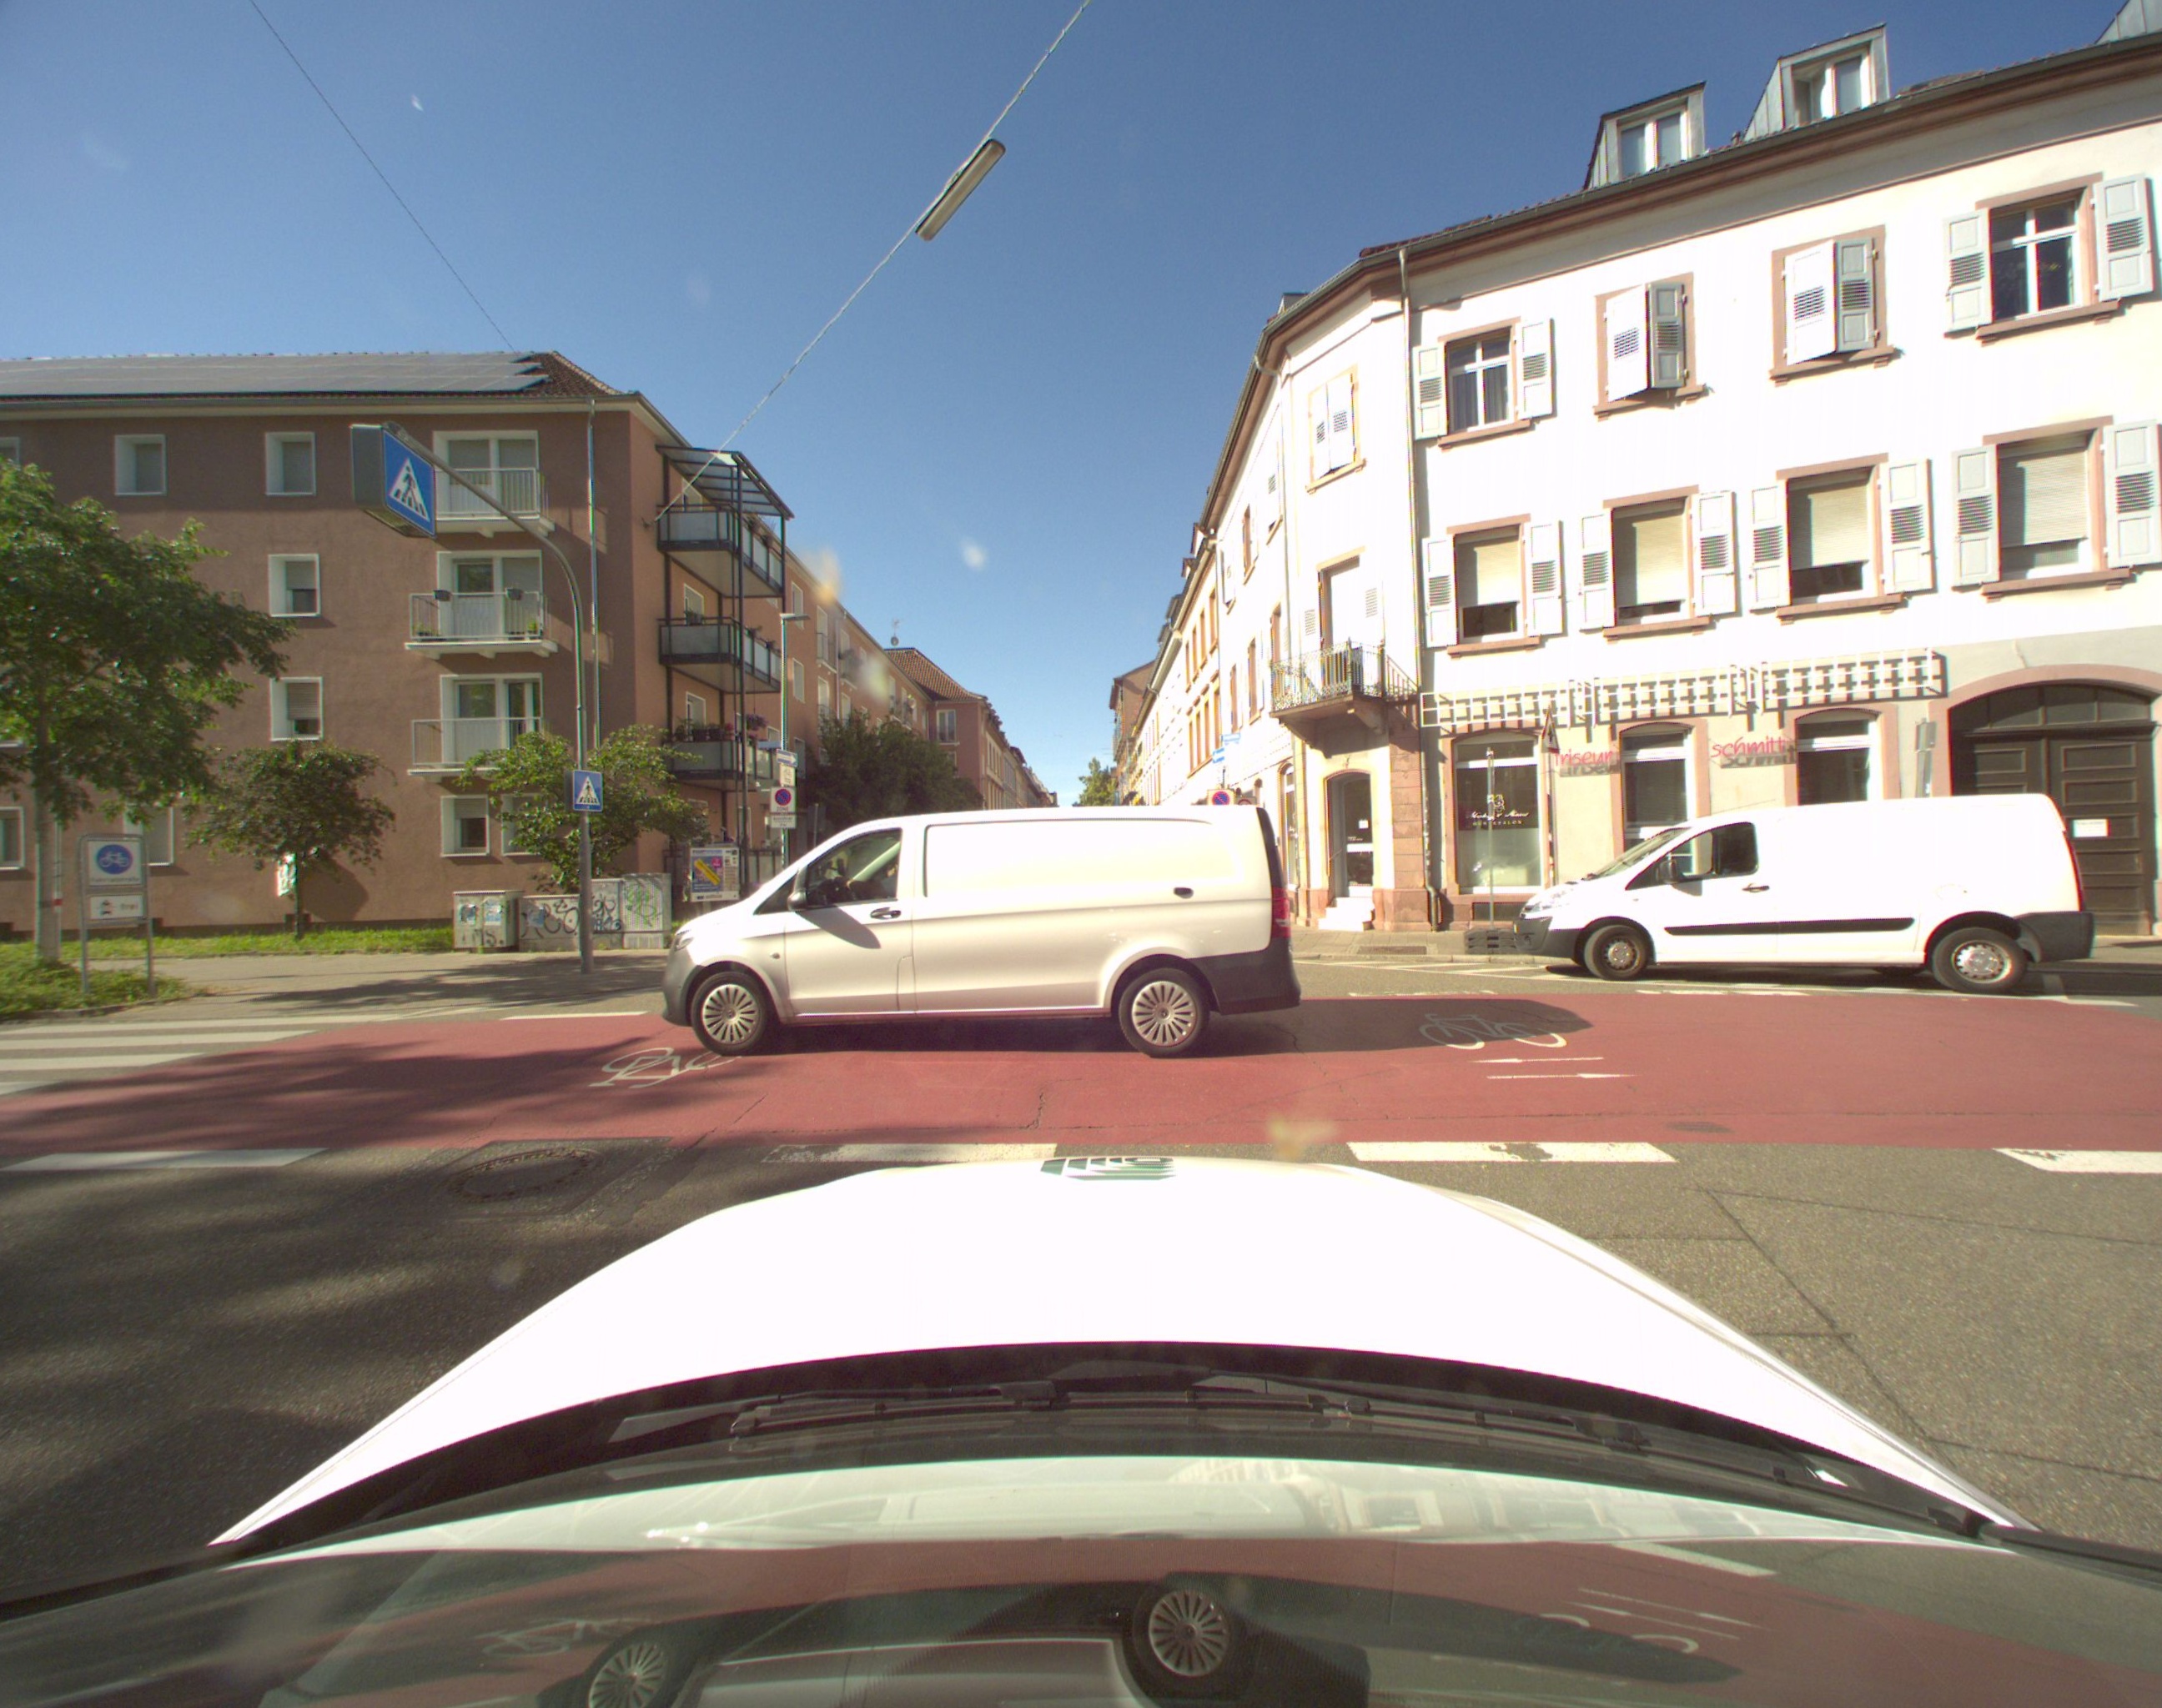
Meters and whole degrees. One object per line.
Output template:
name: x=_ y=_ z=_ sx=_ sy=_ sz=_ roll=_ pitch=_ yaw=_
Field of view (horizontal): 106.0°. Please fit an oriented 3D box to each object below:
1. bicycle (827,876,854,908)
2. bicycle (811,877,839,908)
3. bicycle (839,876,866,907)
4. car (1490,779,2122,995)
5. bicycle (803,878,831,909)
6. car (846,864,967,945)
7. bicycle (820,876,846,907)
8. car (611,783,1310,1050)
bicycle: x=-8.465 y=1.335 z=28.666 sx=1.201 sy=1.071 sz=0.255 roll=-2 pitch=-1 yaw=40
bicycle: x=-8.865 y=1.325 z=28.181 sx=1.201 sy=1.072 sz=0.268 roll=-2 pitch=-1 yaw=40
bicycle: x=-8.066 y=1.311 z=28.717 sx=1.204 sy=1.071 sz=0.255 roll=-2 pitch=-1 yaw=40
car: x=7.513 y=0.358 z=9.299 sx=4.963 sy=1.946 sz=2.062 roll=-2 pitch=-1 yaw=25
bicycle: x=-9.071 y=1.345 z=27.936 sx=1.201 sy=1.035 sz=0.293 roll=-2 pitch=-1 yaw=40
car: x=-3.683 y=1.013 z=17.840 sx=1.679 sy=1.500 sz=3.807 roll=-3 pitch=-1 yaw=1
bicycle: x=-8.666 y=1.313 z=28.431 sx=1.201 sy=1.071 sz=0.255 roll=-2 pitch=-1 yaw=40
car: x=-0.910 y=0.516 z=7.189 sx=5.377 sy=1.907 sz=2.112 roll=-1 pitch=-1 yaw=7
